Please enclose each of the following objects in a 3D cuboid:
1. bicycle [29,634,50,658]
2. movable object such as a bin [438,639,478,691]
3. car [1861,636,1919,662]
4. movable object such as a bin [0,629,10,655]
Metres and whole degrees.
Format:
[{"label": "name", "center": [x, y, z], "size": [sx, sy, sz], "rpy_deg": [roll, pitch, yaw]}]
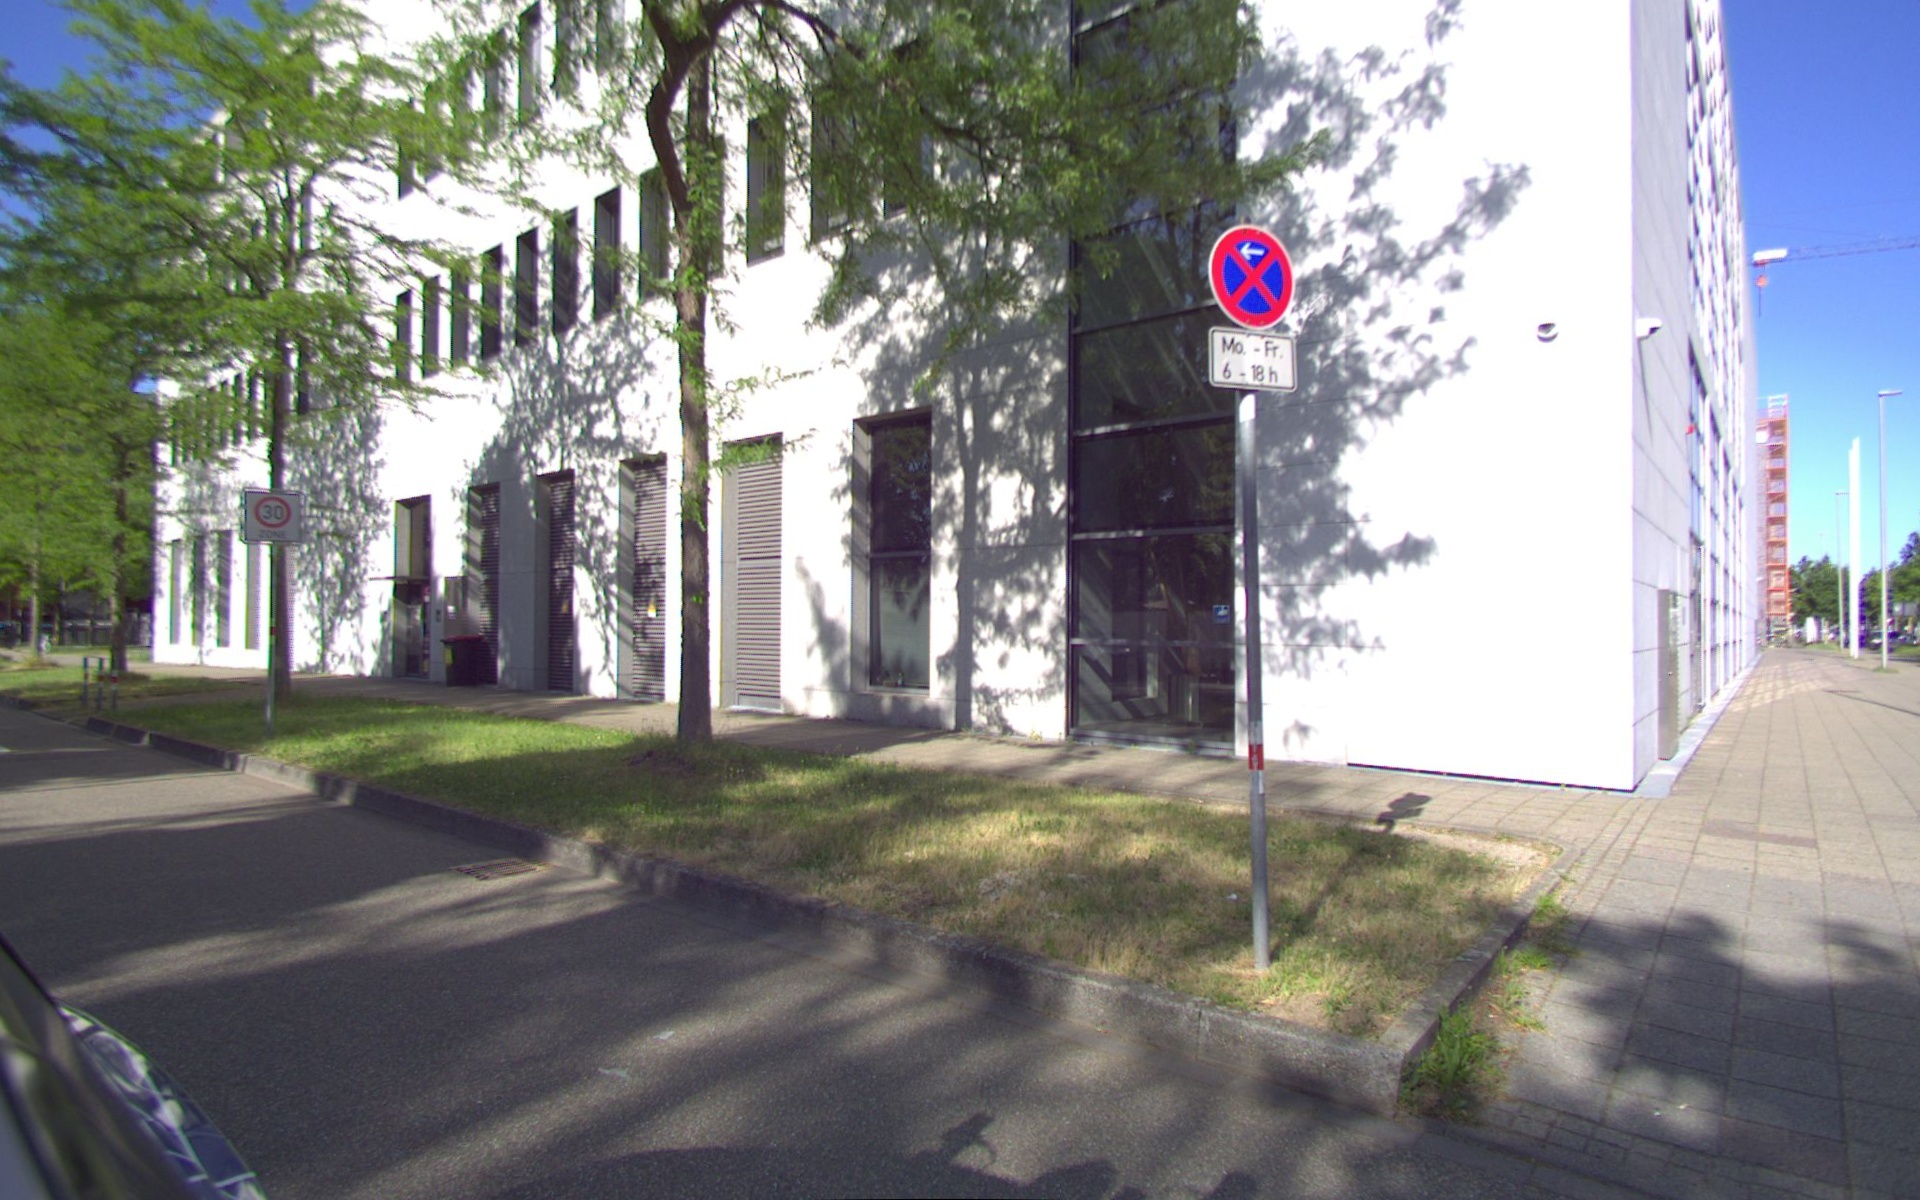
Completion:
[{"label": "bicycle", "center": [-47.805, 2.387, 52.563], "size": [1.726, 1.201, 0.594], "rpy_deg": [-1, -1, 41]}, {"label": "movable object such as a bin", "center": [-10.526, 1.352, 21.216], "size": [0.542, 1.048, 0.587], "rpy_deg": [-1, -1, 38]}, {"label": "car", "center": [69.231, 3.609, 74.269], "size": [4.638, 1.781, 1.960], "rpy_deg": [1, 0, 42]}, {"label": "movable object such as a bin", "center": [-58.353, 2.531, 61.037], "size": [1.347, 1.580, 1.502], "rpy_deg": [-2, -1, 45]}]
